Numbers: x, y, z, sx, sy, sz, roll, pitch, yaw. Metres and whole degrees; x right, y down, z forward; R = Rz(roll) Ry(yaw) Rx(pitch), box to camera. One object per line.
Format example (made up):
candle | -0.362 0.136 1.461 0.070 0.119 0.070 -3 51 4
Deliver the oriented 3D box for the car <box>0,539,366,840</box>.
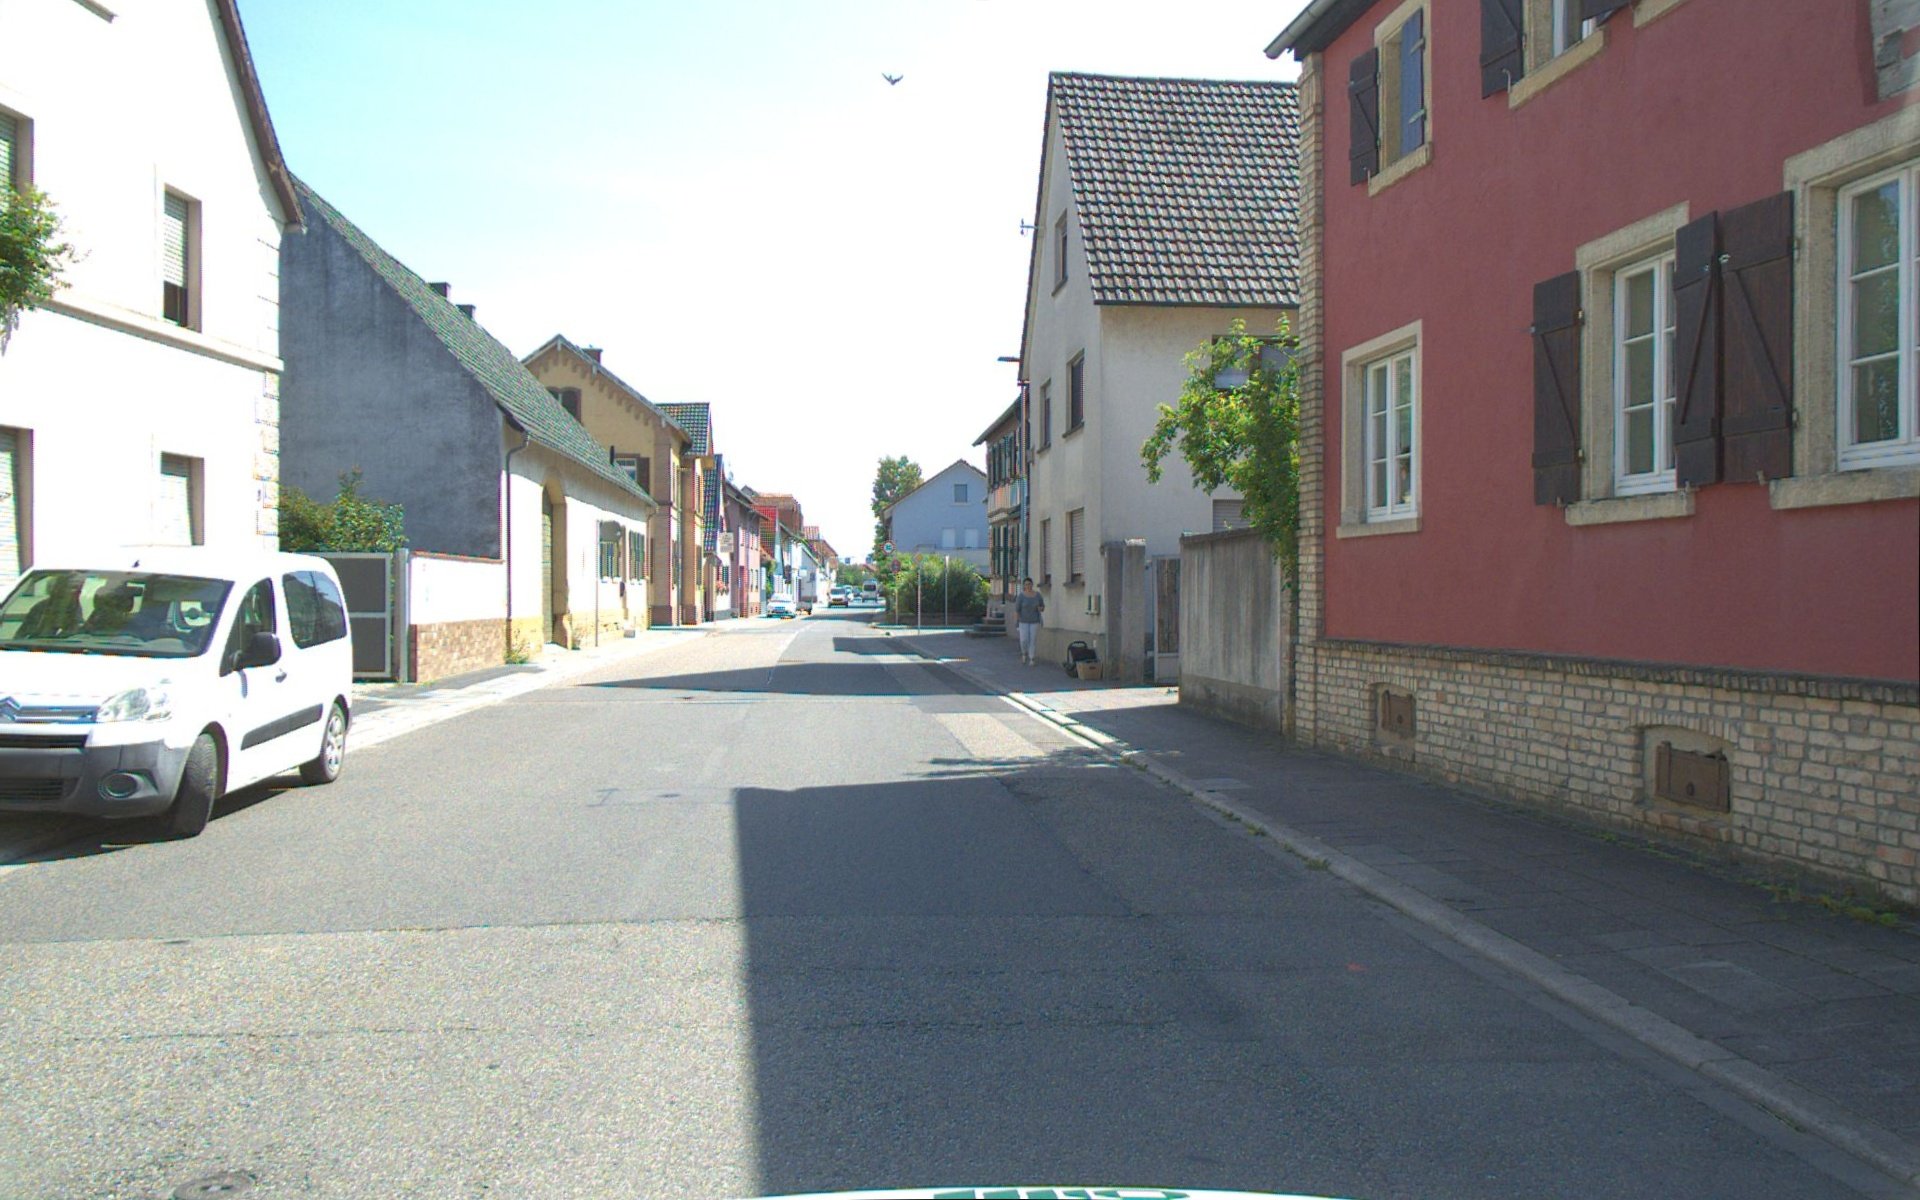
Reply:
car | -5.574 0.476 11.416 1.820 1.676 4.423 0 1 -7

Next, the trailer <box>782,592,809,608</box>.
trailer | -12.209 -0.039 122.595 1.956 1.109 3.994 -1 1 -7

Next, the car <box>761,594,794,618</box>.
car | -11.667 0.367 106.075 1.954 1.467 3.996 -1 0 -4

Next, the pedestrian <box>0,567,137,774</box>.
pedestrian | -7.334 0.532 13.202 0.993 1.579 1.139 0 0 -4

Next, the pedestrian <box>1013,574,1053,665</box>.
pedestrian | 1.378 0.362 31.362 0.704 1.693 0.892 0 0 -1

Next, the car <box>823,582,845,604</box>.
car | -12.452 -0.674 163.458 2.116 2.116 3.995 -1 -1 -6

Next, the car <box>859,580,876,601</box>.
car | -11.767 -1.244 209.798 1.978 2.612 3.996 -1 0 -5

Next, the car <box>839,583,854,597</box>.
car | -14.819 -1.313 215.689 1.954 1.780 3.997 0 0 -4
